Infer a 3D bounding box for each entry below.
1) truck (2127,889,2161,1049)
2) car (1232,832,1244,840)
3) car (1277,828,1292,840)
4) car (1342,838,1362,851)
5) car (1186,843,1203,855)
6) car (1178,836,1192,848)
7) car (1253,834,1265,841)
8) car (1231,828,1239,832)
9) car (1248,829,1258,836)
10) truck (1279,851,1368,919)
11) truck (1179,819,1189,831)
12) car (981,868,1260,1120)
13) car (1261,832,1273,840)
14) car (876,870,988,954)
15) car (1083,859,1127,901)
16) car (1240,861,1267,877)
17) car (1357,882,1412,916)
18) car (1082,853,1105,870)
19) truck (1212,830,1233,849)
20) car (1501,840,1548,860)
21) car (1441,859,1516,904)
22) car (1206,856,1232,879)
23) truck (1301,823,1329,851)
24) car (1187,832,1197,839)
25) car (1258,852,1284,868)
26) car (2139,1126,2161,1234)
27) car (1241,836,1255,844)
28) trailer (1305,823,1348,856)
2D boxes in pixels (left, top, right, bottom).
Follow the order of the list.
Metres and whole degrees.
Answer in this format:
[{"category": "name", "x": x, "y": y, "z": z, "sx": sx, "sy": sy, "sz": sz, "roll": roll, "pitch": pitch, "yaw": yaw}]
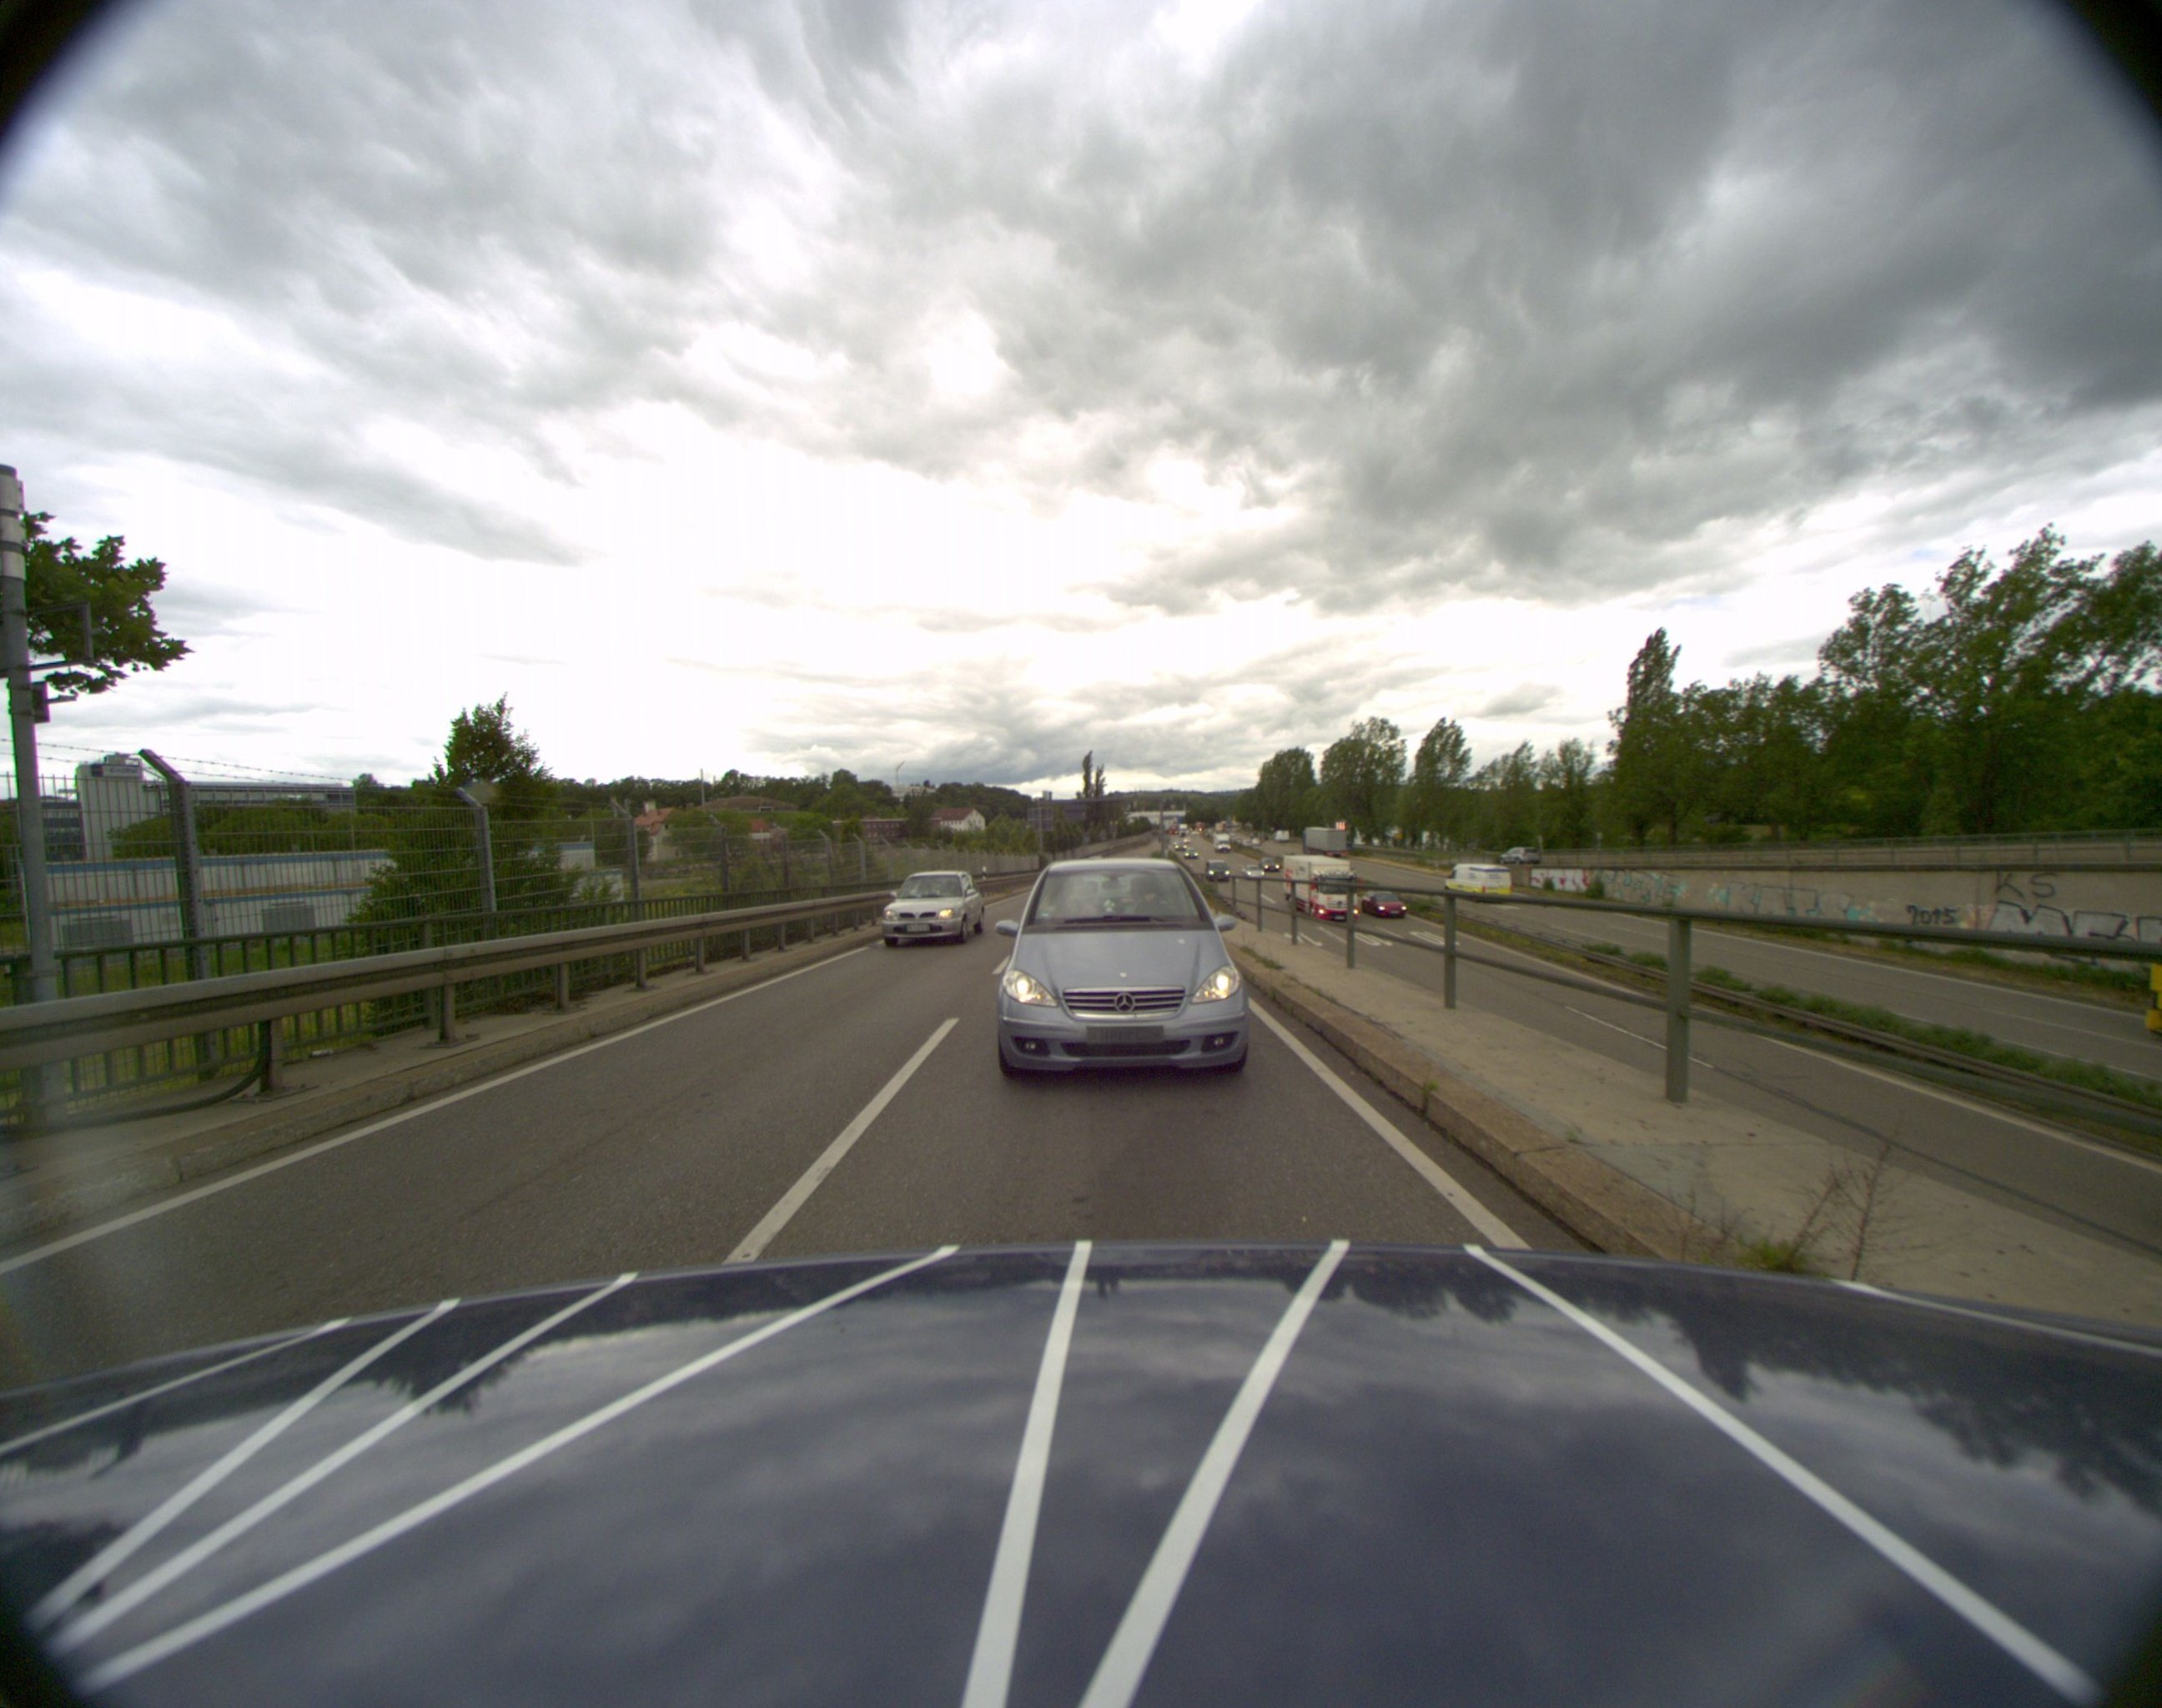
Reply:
[{"category": "truck", "x": 30.051, "y": 3.159, "z": 17.677, "sx": 3.248, "sy": 4.159, "sz": 5.801, "roll": 0, "pitch": 3, "yaw": 2}, {"category": "car", "x": 33.884, "y": -3.921, "z": 164.156, "sx": 1.998, "sy": 1.412, "sz": 3.999, "roll": 2, "pitch": 3, "yaw": 4}, {"category": "car", "x": 46.751, "y": -4.708, "z": 174.835, "sx": 1.998, "sy": 2.635, "sz": 5.179, "roll": 2, "pitch": 3, "yaw": 2}, {"category": "car", "x": 45.396, "y": -1.581, "z": 127.489, "sx": 1.998, "sy": 1.890, "sz": 4.583, "roll": 2, "pitch": 3, "yaw": 5}, {"category": "car", "x": 16.468, "y": -0.735, "z": 110.545, "sx": 1.828, "sy": 1.443, "sz": 4.125, "roll": 0, "pitch": 3, "yaw": 1}, {"category": "car", "x": 18.433, "y": -2.098, "z": 134.823, "sx": 1.998, "sy": 2.003, "sz": 3.999, "roll": 1, "pitch": 3, "yaw": 3}, {"category": "car", "x": 37.000, "y": -3.471, "z": 158.206, "sx": 1.682, "sy": 1.412, "sz": 3.999, "roll": 0, "pitch": 3, "yaw": 4}, {"category": "car", "x": 51.149, "y": -8.012, "z": 252.934, "sx": 1.998, "sy": 1.412, "sz": 3.999, "roll": -1, "pitch": 3, "yaw": 4}, {"category": "car", "x": 48.602, "y": -6.000, "z": 214.673, "sx": 1.886, "sy": 1.807, "sz": 4.560, "roll": 2, "pitch": 3, "yaw": 2}, {"category": "truck", "x": 15.305, "y": 1.760, "z": 48.812, "sx": 2.889, "sy": 3.506, "sz": 9.869, "roll": 1, "pitch": 3, "yaw": 3}, {"category": "truck", "x": 33.562, "y": -9.464, "z": 248.092, "sx": 3.009, "sy": 4.087, "sz": 5.873, "roll": 0, "pitch": 3, "yaw": 6}, {"category": "car", "x": 0.283, "y": 0.920, "z": 6.785, "sx": 1.743, "sy": 1.534, "sz": 3.993, "roll": -1, "pitch": 0, "yaw": 1}, {"category": "car", "x": 47.637, "y": -4.713, "z": 194.825, "sx": 1.886, "sy": 1.807, "sz": 4.560, "roll": 2, "pitch": 3, "yaw": 2}, {"category": "car", "x": -2.985, "y": 1.119, "z": 15.863, "sx": 1.589, "sy": 1.423, "sz": 3.442, "roll": -2, "pitch": 1, "yaw": 1}, {"category": "car", "x": 1.042, "y": 1.130, "z": 34.208, "sx": 1.830, "sy": 1.701, "sz": 4.001, "roll": -2, "pitch": -1, "yaw": 1}, {"category": "car", "x": 16.923, "y": 1.427, "z": 74.593, "sx": 1.789, "sy": 1.294, "sz": 4.151, "roll": 0, "pitch": 3, "yaw": 2}, {"category": "car", "x": 18.799, "y": 2.745, "z": 47.265, "sx": 1.834, "sy": 1.570, "sz": 4.180, "roll": -2, "pitch": 4, "yaw": 2}, {"category": "car", "x": 1.354, "y": 0.815, "z": 81.417, "sx": 1.799, "sy": 1.643, "sz": 4.153, "roll": -2, "pitch": -1, "yaw": 8}, {"category": "truck", "x": 23.742, "y": -2.473, "z": 127.586, "sx": 2.239, "sy": 2.993, "sz": 7.228, "roll": -1, "pitch": 3, "yaw": 1}, {"category": "car", "x": 40.329, "y": -0.371, "z": 69.169, "sx": 1.897, "sy": 1.642, "sz": 4.378, "roll": -3, "pitch": 0, "yaw": 3}, {"category": "car", "x": 28.678, "y": 1.898, "z": 55.078, "sx": 1.998, "sy": 2.614, "sz": 6.711, "roll": 1, "pitch": 3, "yaw": 2}, {"category": "car", "x": 13.254, "y": 1.264, "z": 73.180, "sx": 1.998, "sy": 1.830, "sz": 4.424, "roll": 0, "pitch": 3, "yaw": 5}, {"category": "truck", "x": 36.293, "y": -2.659, "z": 118.008, "sx": 2.793, "sy": 4.117, "sz": 5.934, "roll": -1, "pitch": 3, "yaw": 4}, {"category": "car", "x": 25.580, "y": -4.372, "z": 175.077, "sx": 1.769, "sy": 1.520, "sz": 3.334, "roll": 0, "pitch": 3, "yaw": 1}, {"category": "car", "x": 21.117, "y": 0.635, "z": 84.480, "sx": 1.863, "sy": 1.457, "sz": 4.423, "roll": -2, "pitch": 3, "yaw": 2}, {"category": "car", "x": 16.745, "y": 4.916, "z": 9.608, "sx": 1.696, "sy": 1.524, "sz": 3.607, "roll": -1, "pitch": 3, "yaw": 2}, {"category": "car", "x": 31.979, "y": -2.675, "z": 145.218, "sx": 1.998, "sy": 1.412, "sz": 3.999, "roll": 2, "pitch": 3, "yaw": 4}, {"category": "trailer", "x": 35.816, "y": -2.269, "z": 111.311, "sx": 2.793, "sy": 4.117, "sz": 13.759, "roll": -1, "pitch": 3, "yaw": 4}]
